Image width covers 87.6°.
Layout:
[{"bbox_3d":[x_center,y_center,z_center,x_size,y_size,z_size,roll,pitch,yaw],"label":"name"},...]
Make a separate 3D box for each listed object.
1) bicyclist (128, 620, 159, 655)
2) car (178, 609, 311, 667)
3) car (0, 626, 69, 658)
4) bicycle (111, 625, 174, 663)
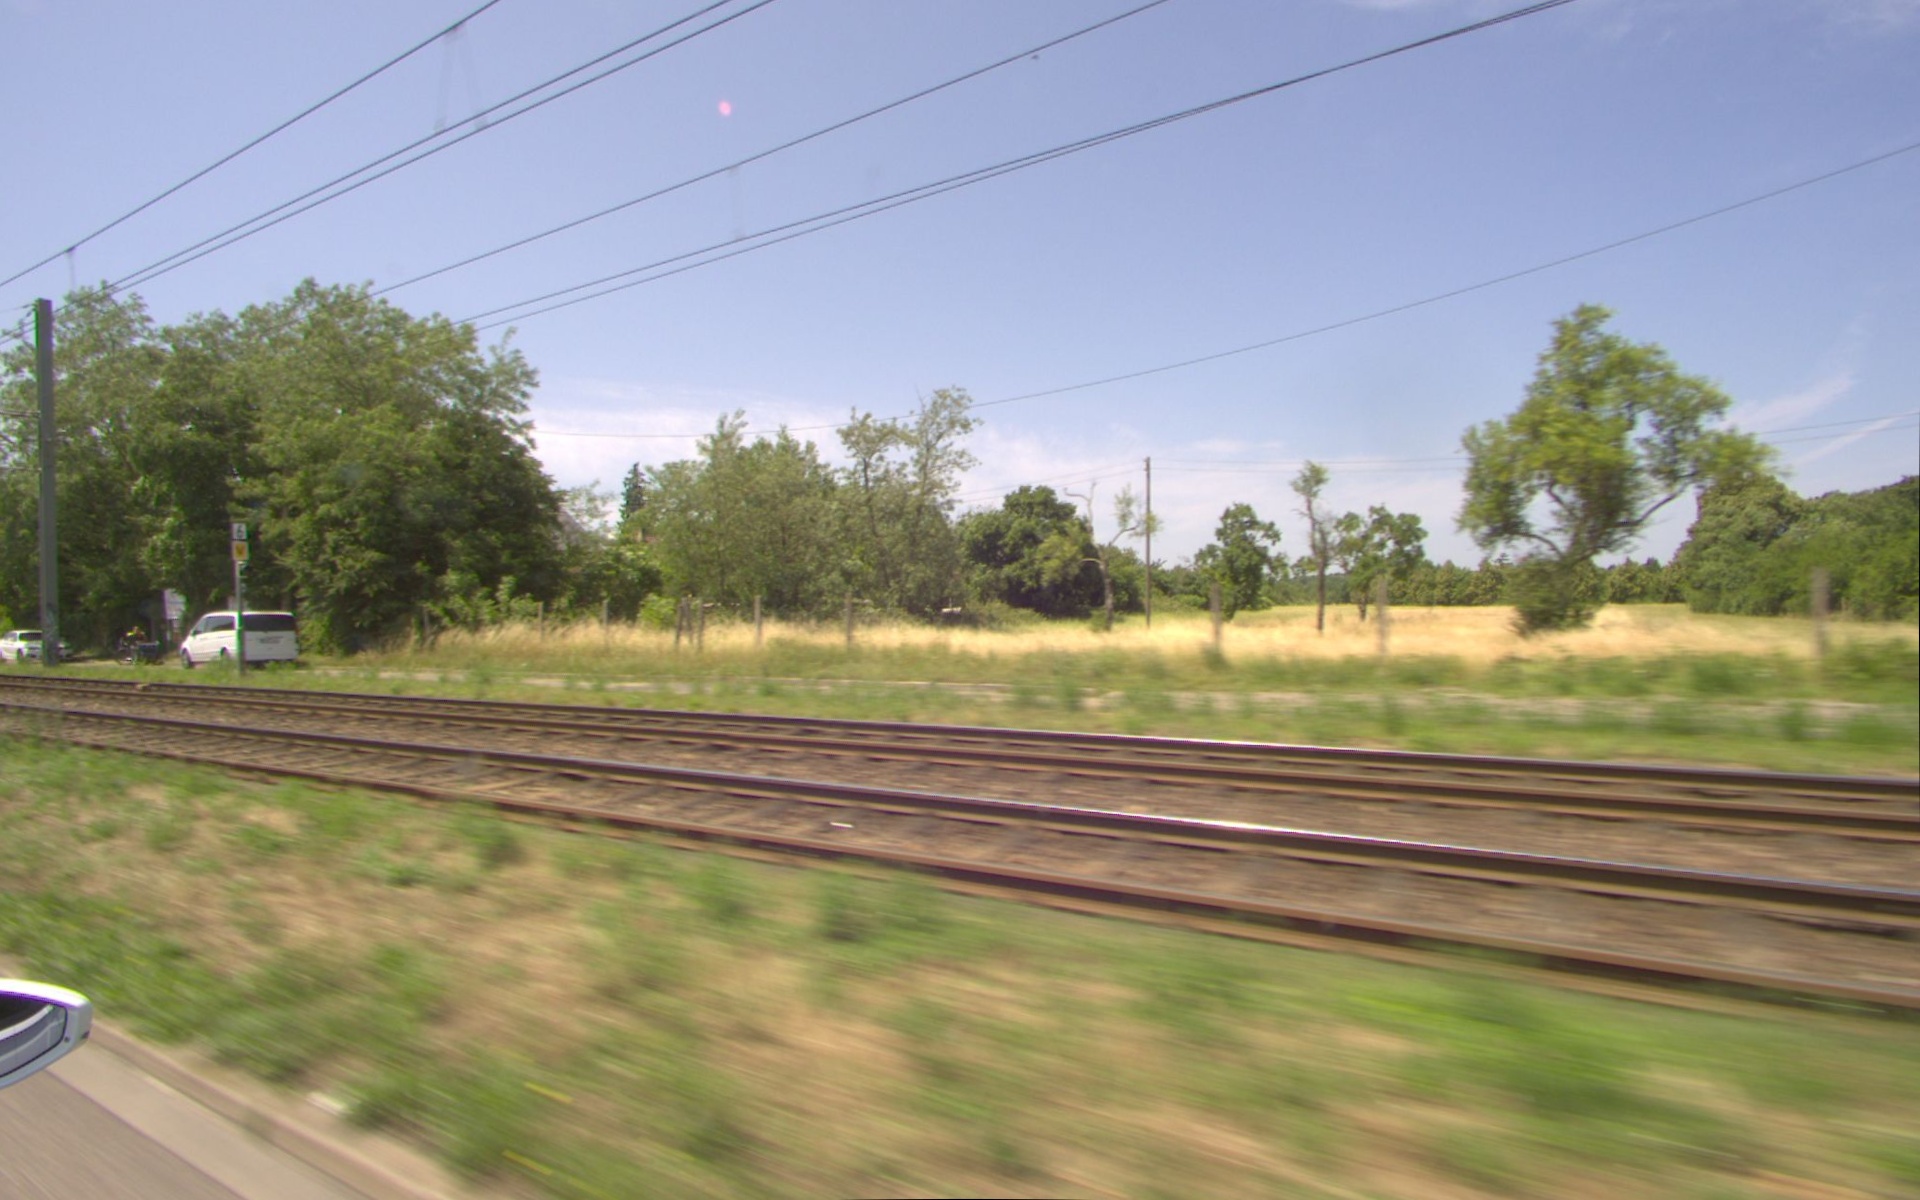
[{"bbox_3d":[-32.670,1.499,40.081,0.891,1.355,0.700,-2,0,32],"label":"bicyclist"},{"bbox_3d":[-24.170,1.274,33.778,4.727,1.826,1.989,-2,-1,32],"label":"car"},{"bbox_3d":[-40.496,1.831,43.756,3.417,1.325,1.425,-2,-1,32],"label":"car"},{"bbox_3d":[-32.777,1.781,40.109,3.338,1.448,0.926,-2,0,32],"label":"bicycle"}]
